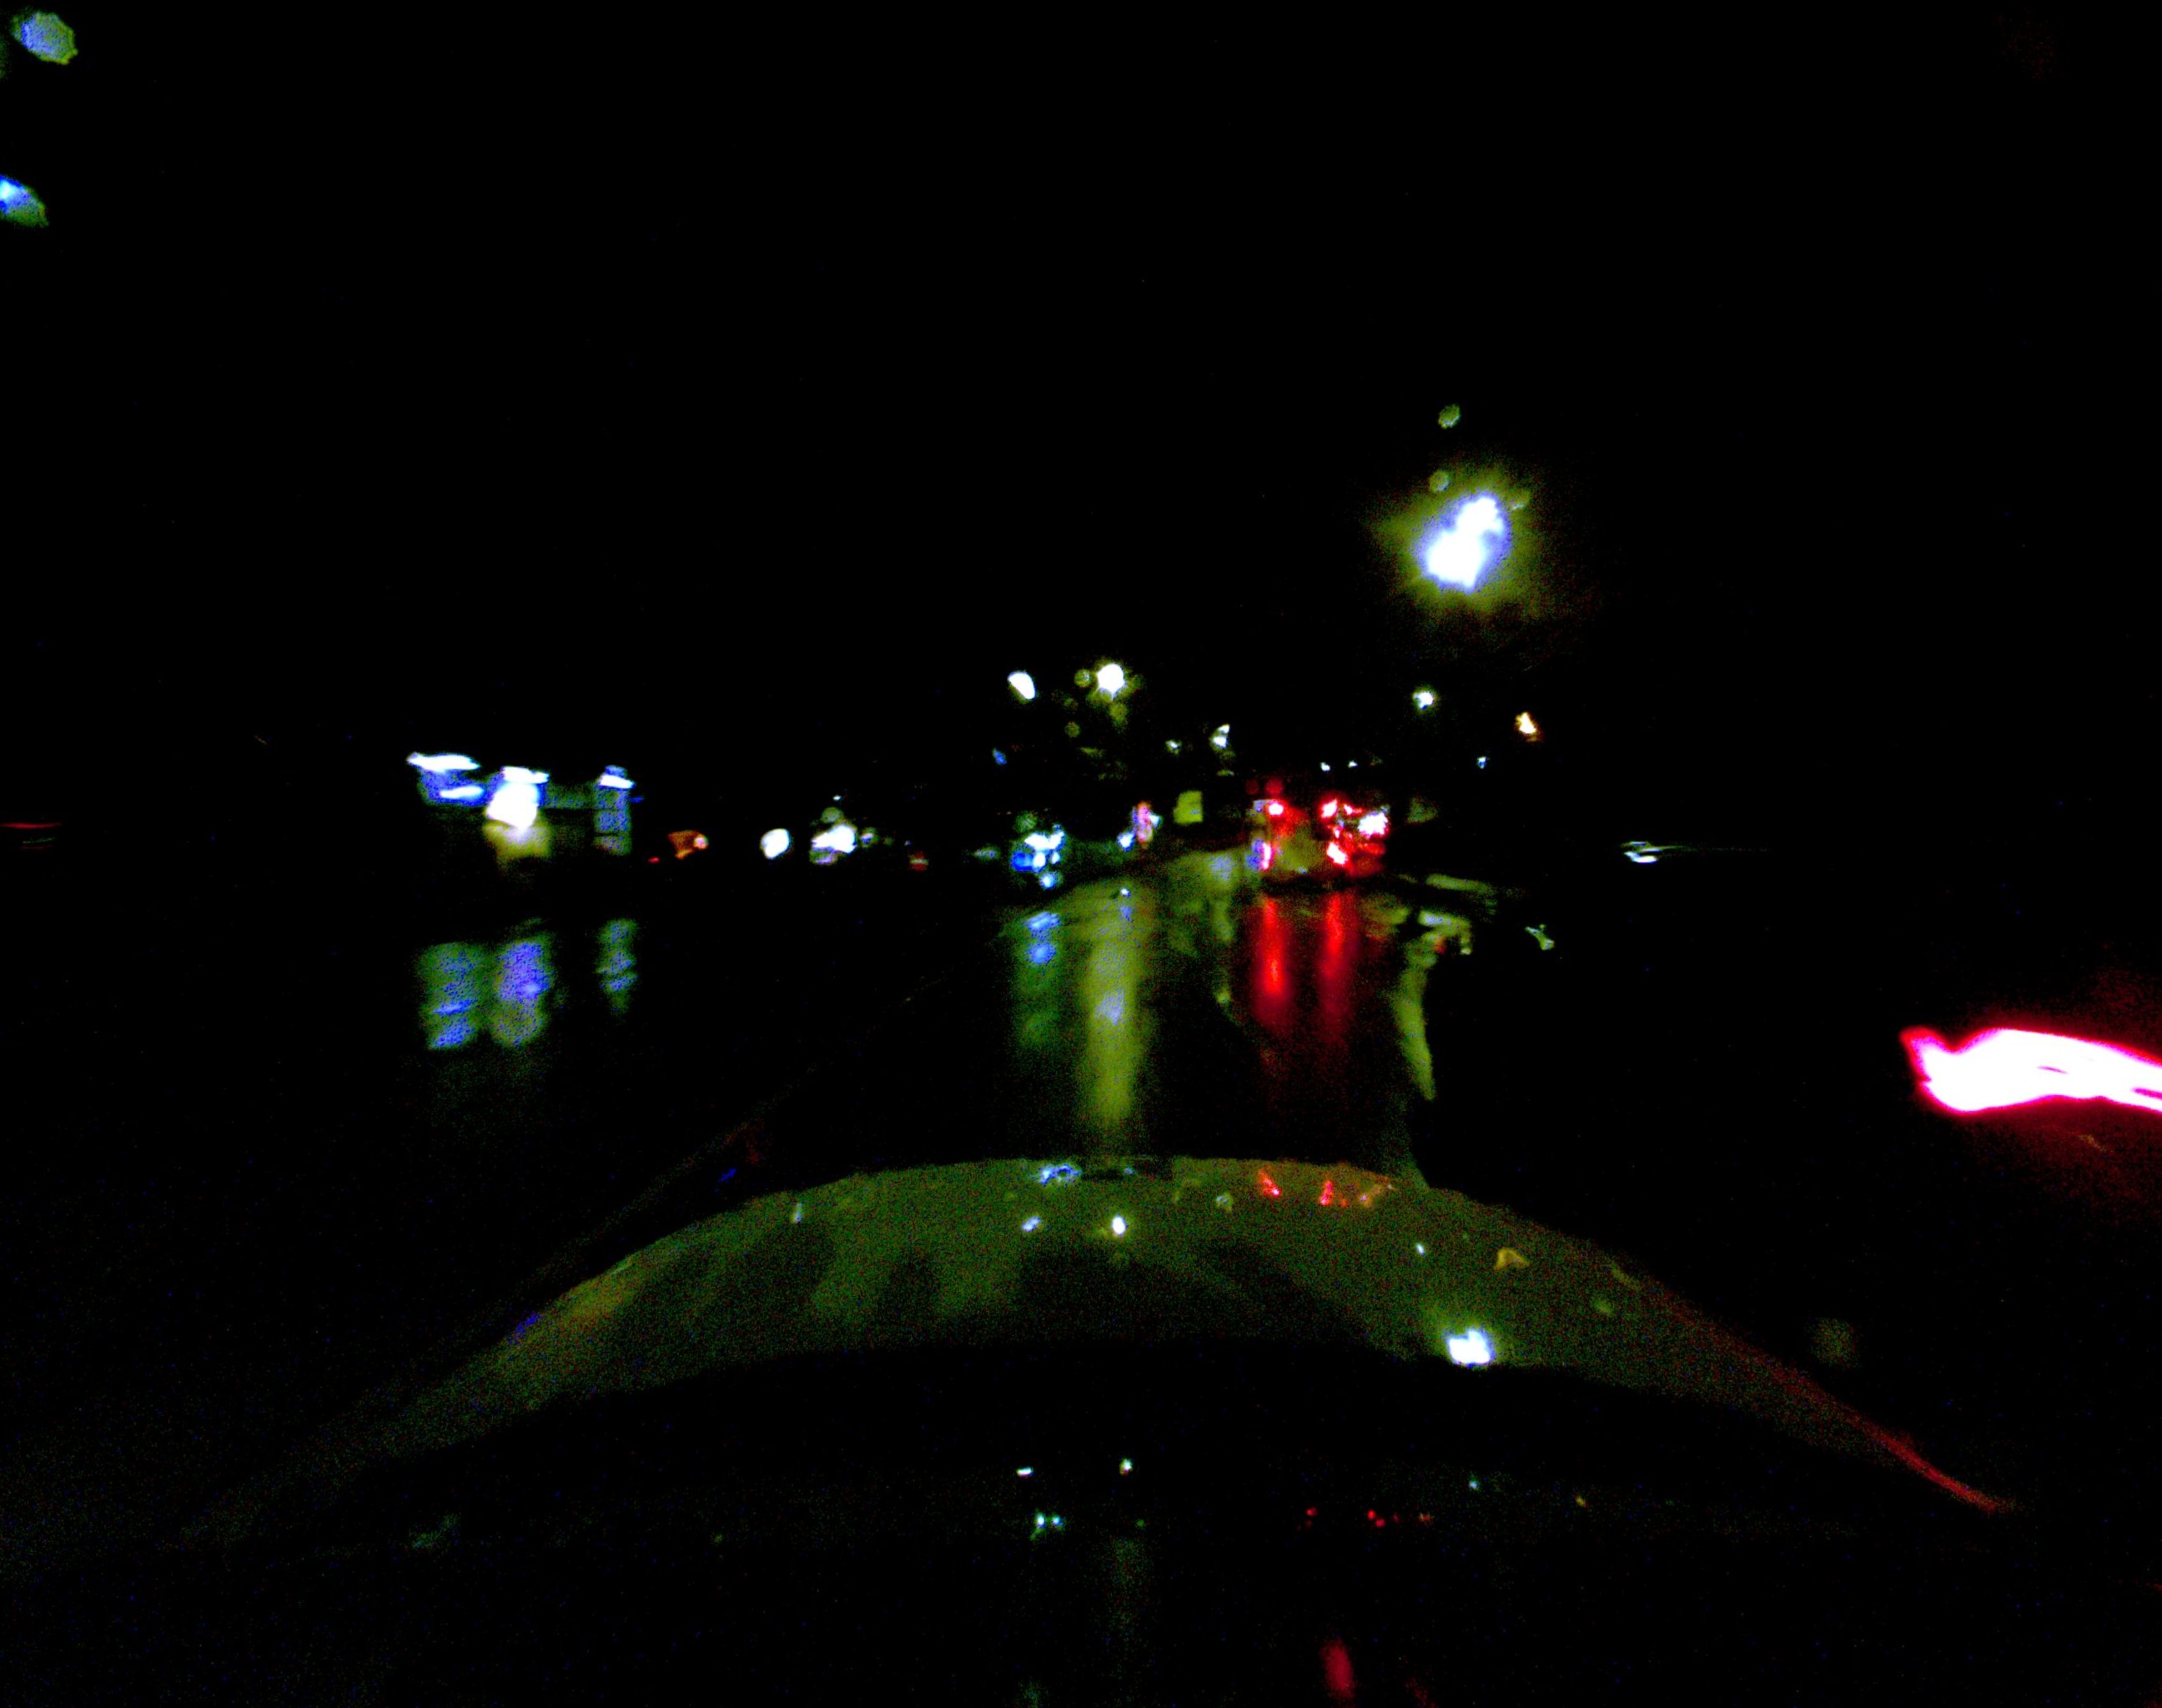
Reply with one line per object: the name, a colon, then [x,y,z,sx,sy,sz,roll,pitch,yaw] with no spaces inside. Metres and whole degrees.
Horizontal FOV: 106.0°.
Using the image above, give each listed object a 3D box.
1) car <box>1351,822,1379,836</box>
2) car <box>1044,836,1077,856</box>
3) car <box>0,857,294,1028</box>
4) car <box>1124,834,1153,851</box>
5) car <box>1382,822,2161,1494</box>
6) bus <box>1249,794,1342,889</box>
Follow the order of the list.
car: [32.871,-2.884,94.224,1.759,1.501,4.026,0,3,38]
car: [-1.790,-0.741,72.580,1.980,1.594,4.014,-1,2,12]
car: [-10.275,0.779,7.755,1.760,1.457,3.950,0,0,-2]
car: [5.559,-1.089,77.935,1.852,1.463,4.659,-3,1,15]
car: [3.123,0.666,3.860,1.986,1.524,4.002,-2,0,2]
bus: [8.328,-0.476,32.588,3.024,3.212,9.079,-1,1,11]
